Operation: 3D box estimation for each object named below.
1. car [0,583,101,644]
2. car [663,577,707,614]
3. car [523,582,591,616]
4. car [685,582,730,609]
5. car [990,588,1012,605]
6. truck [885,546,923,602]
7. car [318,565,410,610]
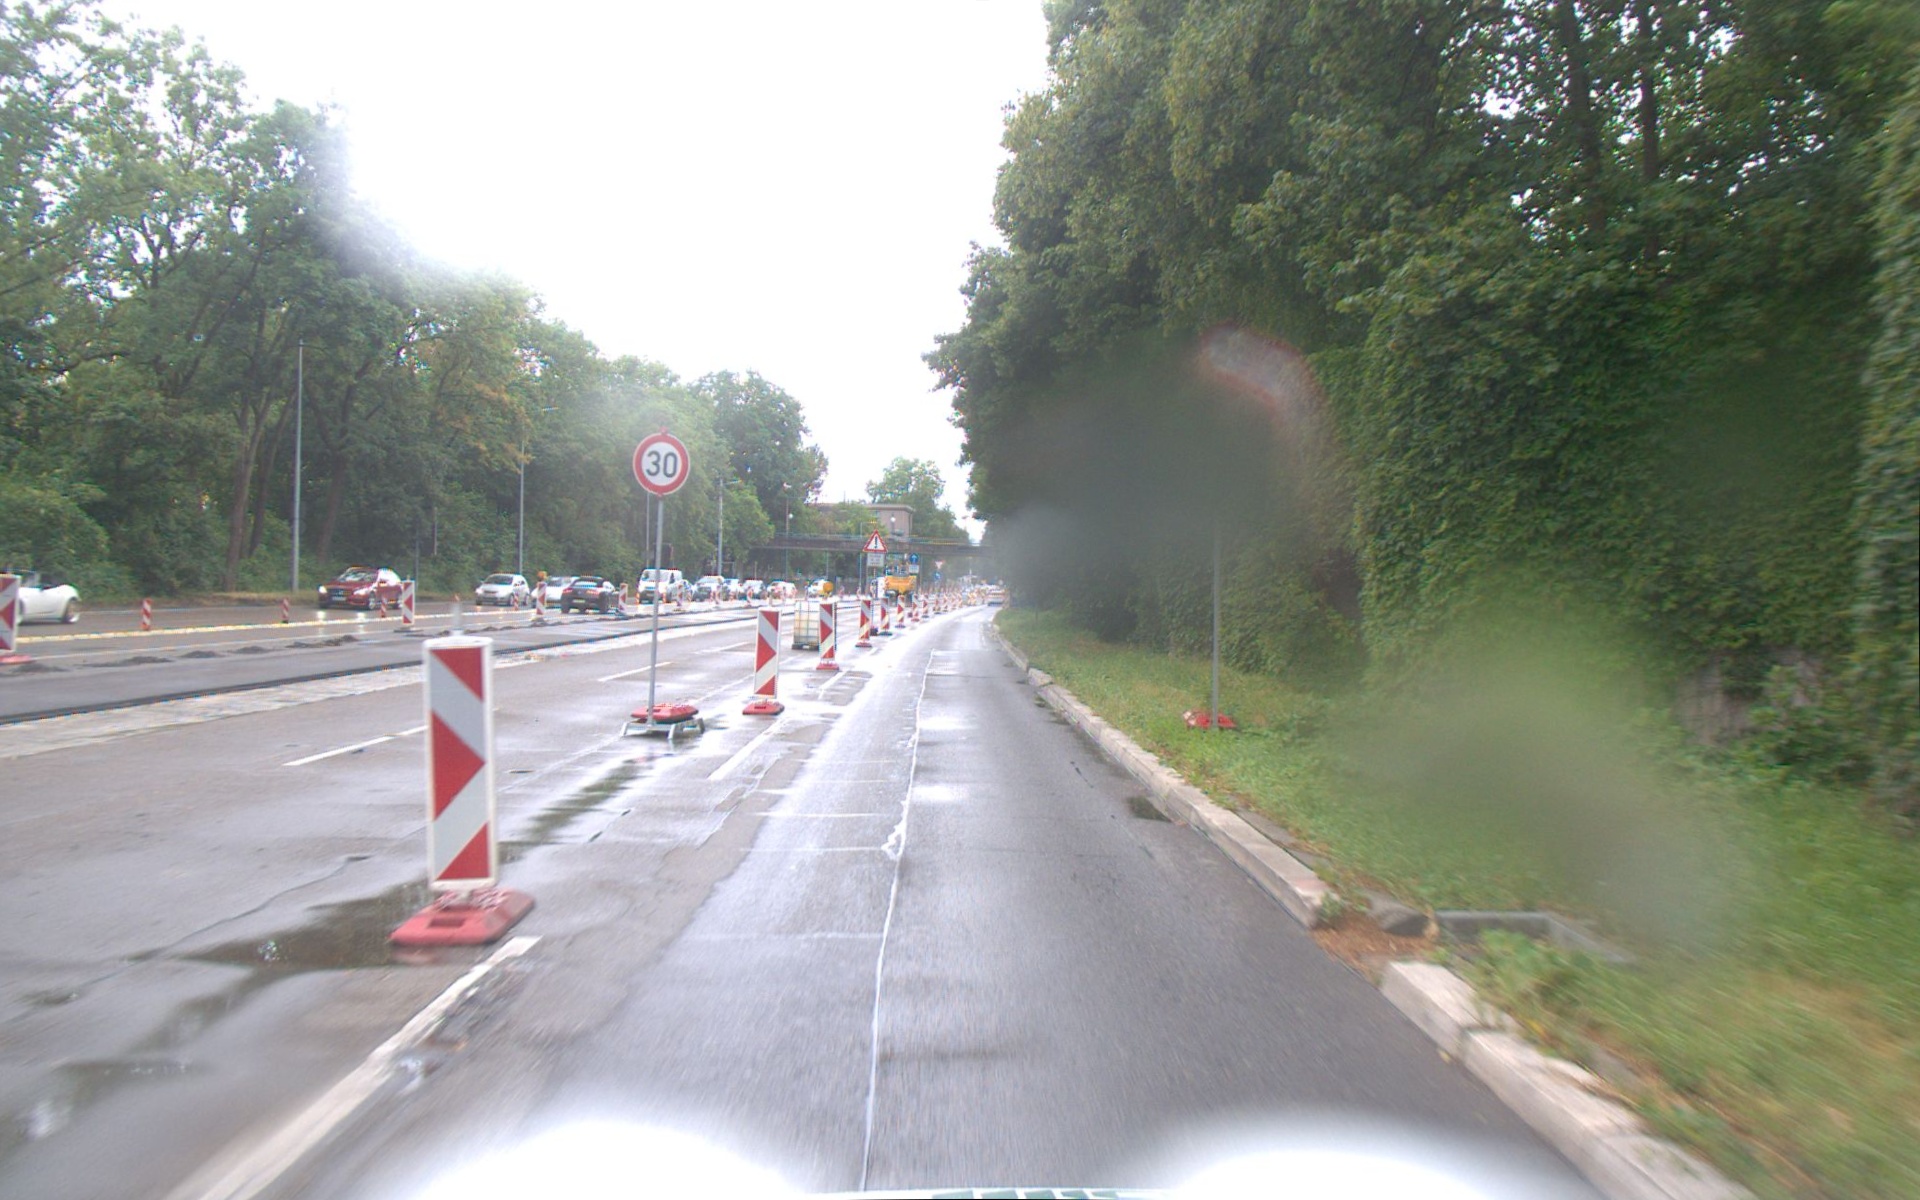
[{"bbox_3d":[-20.954,0.269,36.614,1.654,1.203,4.001,3,1,1],"label":"car"},{"bbox_3d":[-16.172,-0.287,97.454,1.954,2.006,4.900,2,1,-3],"label":"car"},{"bbox_3d":[-18.263,-0.054,75.166,1.952,1.440,4.393,1,0,1],"label":"car"},{"bbox_3d":[-17.218,-0.330,113.136,1.979,1.755,5.015,2,1,3],"label":"car"},{"bbox_3d":[3.967,-0.352,160.961,1.952,1.668,4.002,1,0,4],"label":"car"},{"bbox_3d":[-4.543,-2.086,135.569,2.839,4.333,10.754,2,1,-1],"label":"truck"},{"bbox_3d":[-21.218,-0.451,59.064,1.694,1.502,4.486,1,0,-1],"label":"car"}]
